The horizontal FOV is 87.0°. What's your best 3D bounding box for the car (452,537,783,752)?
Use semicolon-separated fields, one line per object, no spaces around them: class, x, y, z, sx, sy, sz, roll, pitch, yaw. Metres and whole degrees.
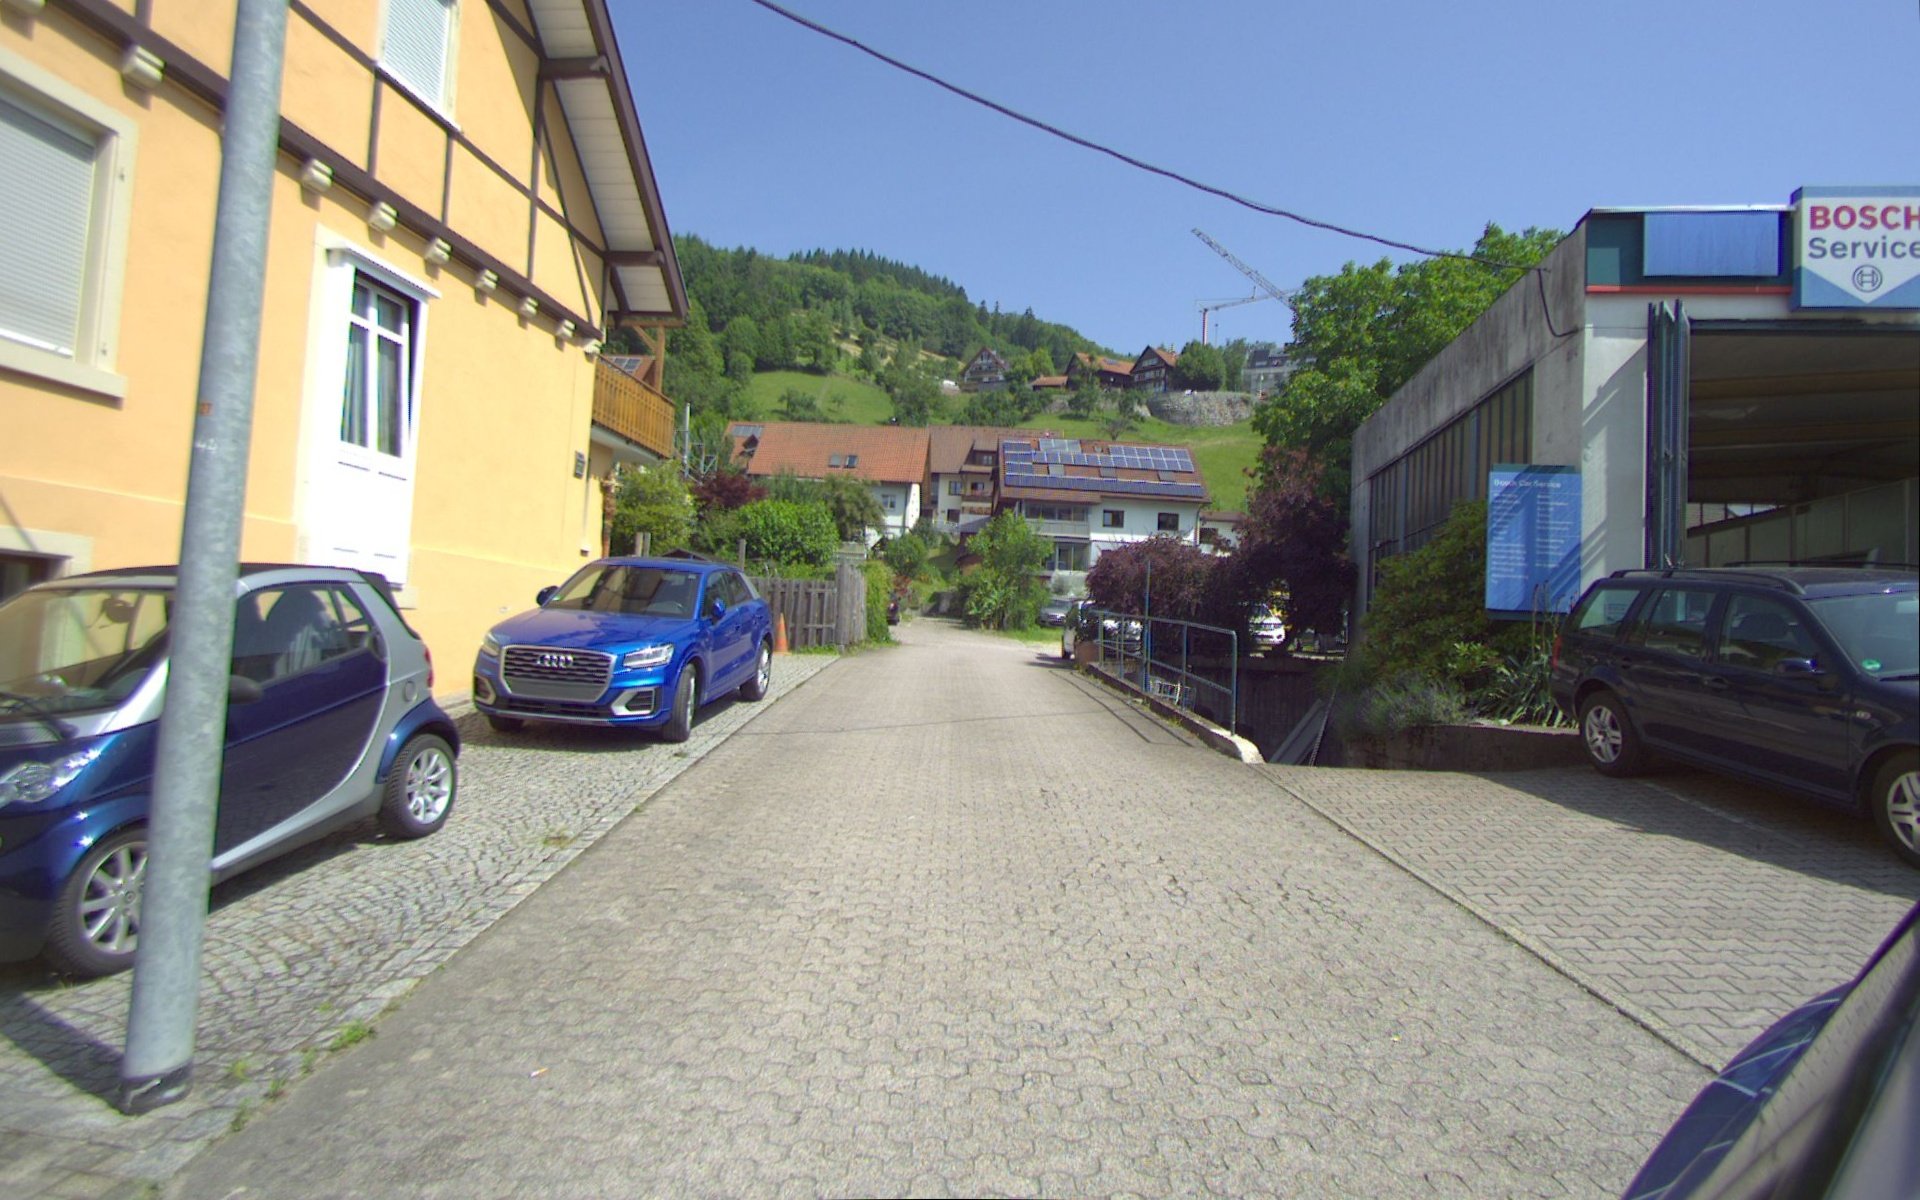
car;-3.034;0.324;9.886;1.703;1.646;3.931;1;0;3

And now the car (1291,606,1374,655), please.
car;13.300;1.054;36.332;1.649;1.575;3.908;0;0;3

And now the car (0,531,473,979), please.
car;-3.771;0.474;4.871;1.400;1.555;2.660;-1;3;5

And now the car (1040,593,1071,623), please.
car;4.554;0.380;48.586;1.320;1.388;3.211;0;0;3

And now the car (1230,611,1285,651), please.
car;10.894;1.115;37.223;1.443;1.274;3.380;2;1;8

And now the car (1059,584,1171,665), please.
car;3.419;0.489;23.241;1.963;1.665;4.875;0;0;2

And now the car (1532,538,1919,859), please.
car;5.557;0.452;6.069;1.766;1.564;4.331;-1;1;0

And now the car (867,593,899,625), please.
car;-3.064;0.334;40.518;1.091;1.077;2.866;4;1;-2
